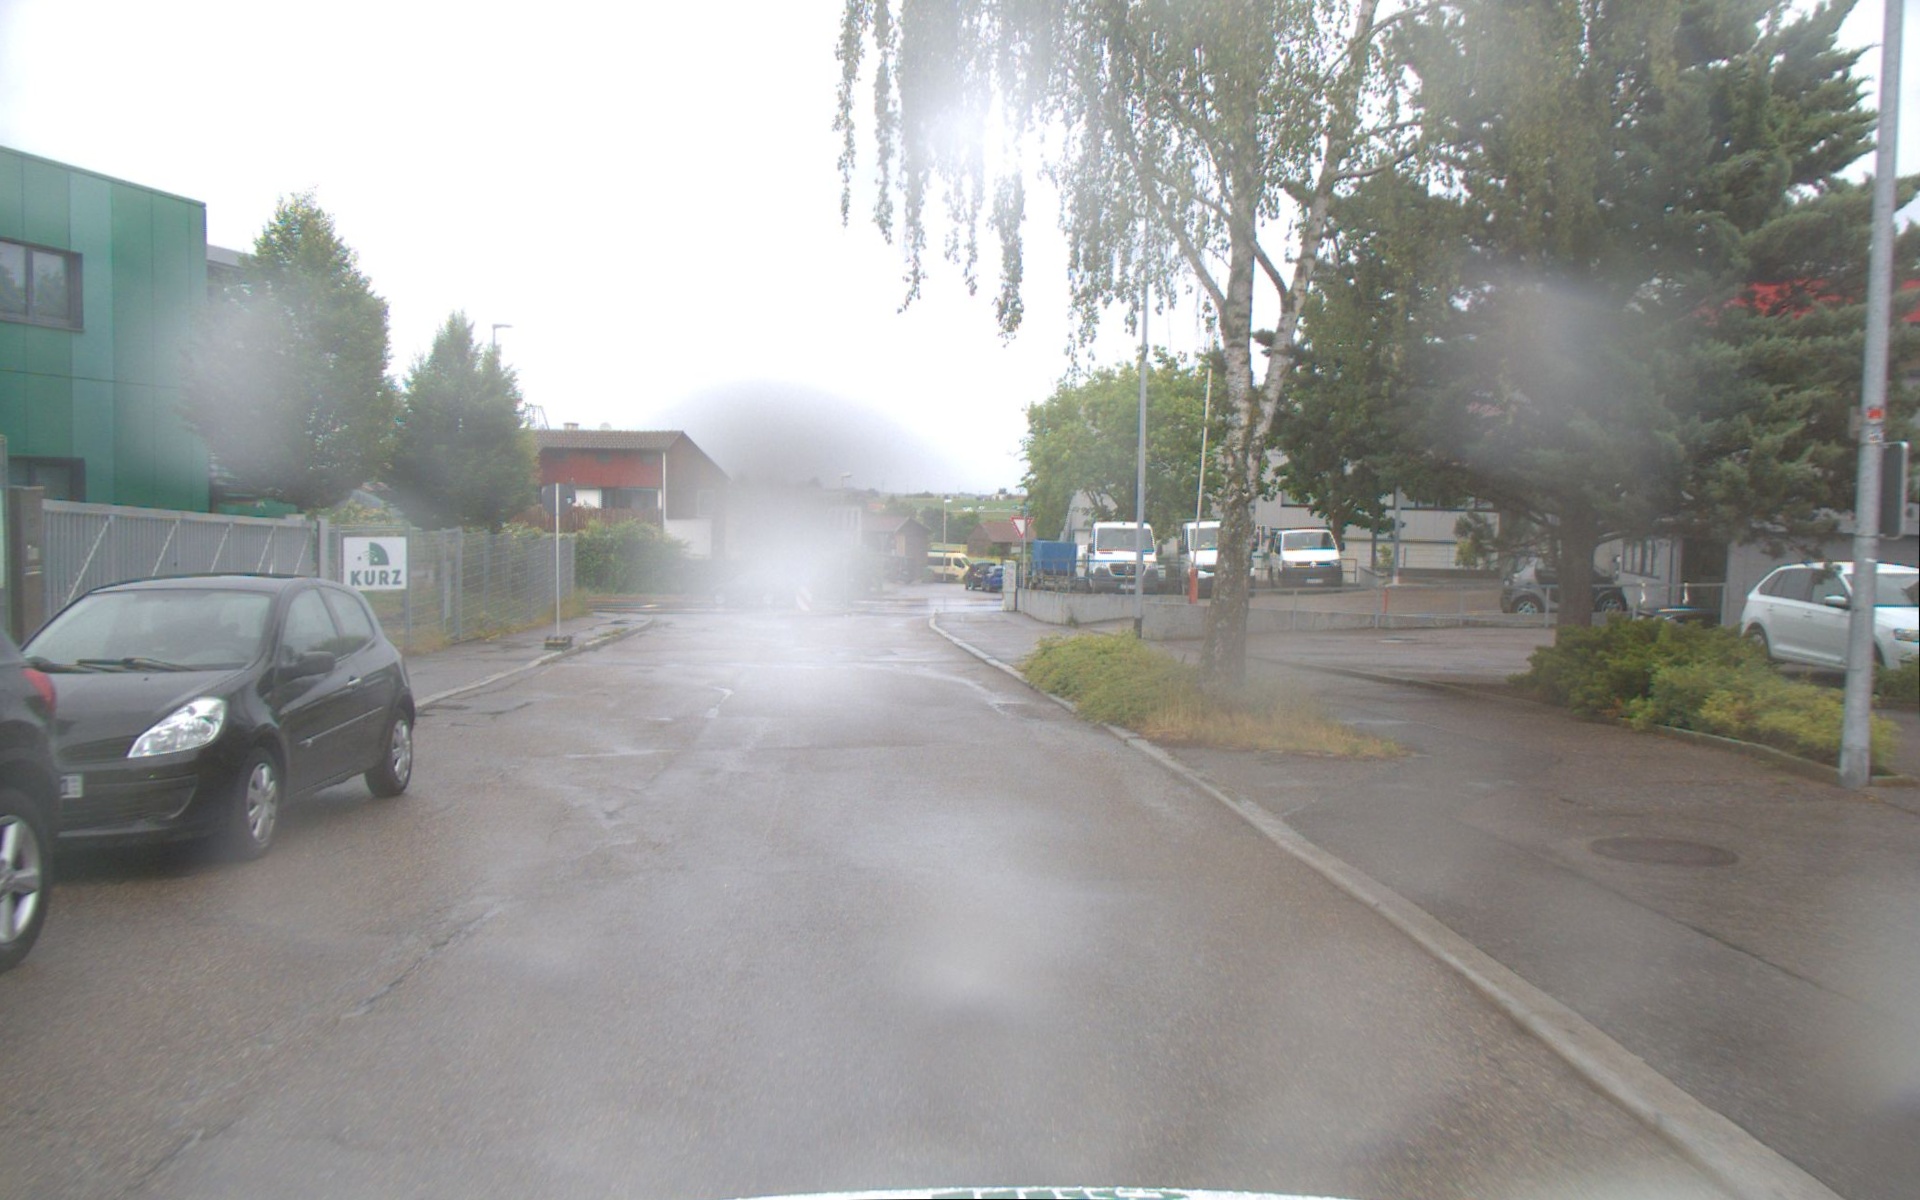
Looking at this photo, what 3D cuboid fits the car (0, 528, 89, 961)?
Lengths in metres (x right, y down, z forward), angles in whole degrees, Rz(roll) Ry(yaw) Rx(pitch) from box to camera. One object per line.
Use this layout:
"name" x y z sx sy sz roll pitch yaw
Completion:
"car" -4.248 0.568 4.626 1.600 1.585 4.082 -1 1 -3

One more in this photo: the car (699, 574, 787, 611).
"car" -9.572 -0.338 72.816 3.931 1.561 1.749 1 1 44

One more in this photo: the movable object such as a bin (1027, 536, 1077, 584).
"movable object such as a bin" 2.977 -1.292 53.640 1.282 1.526 1.855 0 1 -8

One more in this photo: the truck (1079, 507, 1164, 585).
"truck" 4.923 -1.619 51.137 2.062 2.252 5.653 0 1 0

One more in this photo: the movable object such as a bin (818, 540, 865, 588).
"movable object such as a bin" -6.522 -1.998 91.555 1.696 2.601 3.343 0 1 12

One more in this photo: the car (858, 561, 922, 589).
"car" -4.877 -1.756 115.059 4.329 1.938 1.989 1 1 41

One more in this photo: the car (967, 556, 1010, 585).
"car" 1.654 -1.726 97.311 1.915 1.638 4.440 0 1 -7

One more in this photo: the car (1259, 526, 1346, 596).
"car" 10.563 -1.191 51.342 2.013 2.049 4.941 0 1 4

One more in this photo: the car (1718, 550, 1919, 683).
"car" 11.518 0.132 20.806 1.865 1.496 4.327 0 1 -2

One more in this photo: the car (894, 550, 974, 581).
"car" -2.090 -2.769 132.803 5.883 2.457 2.464 1 1 19

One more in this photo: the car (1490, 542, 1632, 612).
"car" 13.152 -0.499 36.325 2.654 1.471 1.679 0 1 8

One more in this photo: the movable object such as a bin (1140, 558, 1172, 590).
"movable object such as a bin" 6.627 -0.881 55.887 1.027 1.060 0.885 0 1 7

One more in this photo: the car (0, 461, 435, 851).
"car" -4.495 0.239 9.743 1.705 1.828 3.956 0 1 -3

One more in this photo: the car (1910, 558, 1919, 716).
"car" 10.325 0.441 14.667 1.953 1.606 4.516 2 1 12

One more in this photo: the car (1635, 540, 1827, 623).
"car" 14.762 -0.356 31.798 2.970 1.521 1.631 -1 1 6

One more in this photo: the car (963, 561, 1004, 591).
"car" 1.444 -1.490 103.298 2.034 1.867 4.465 0 1 -6

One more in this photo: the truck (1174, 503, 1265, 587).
"truck" 7.895 -1.638 50.695 2.196 2.382 4.839 2 1 3
